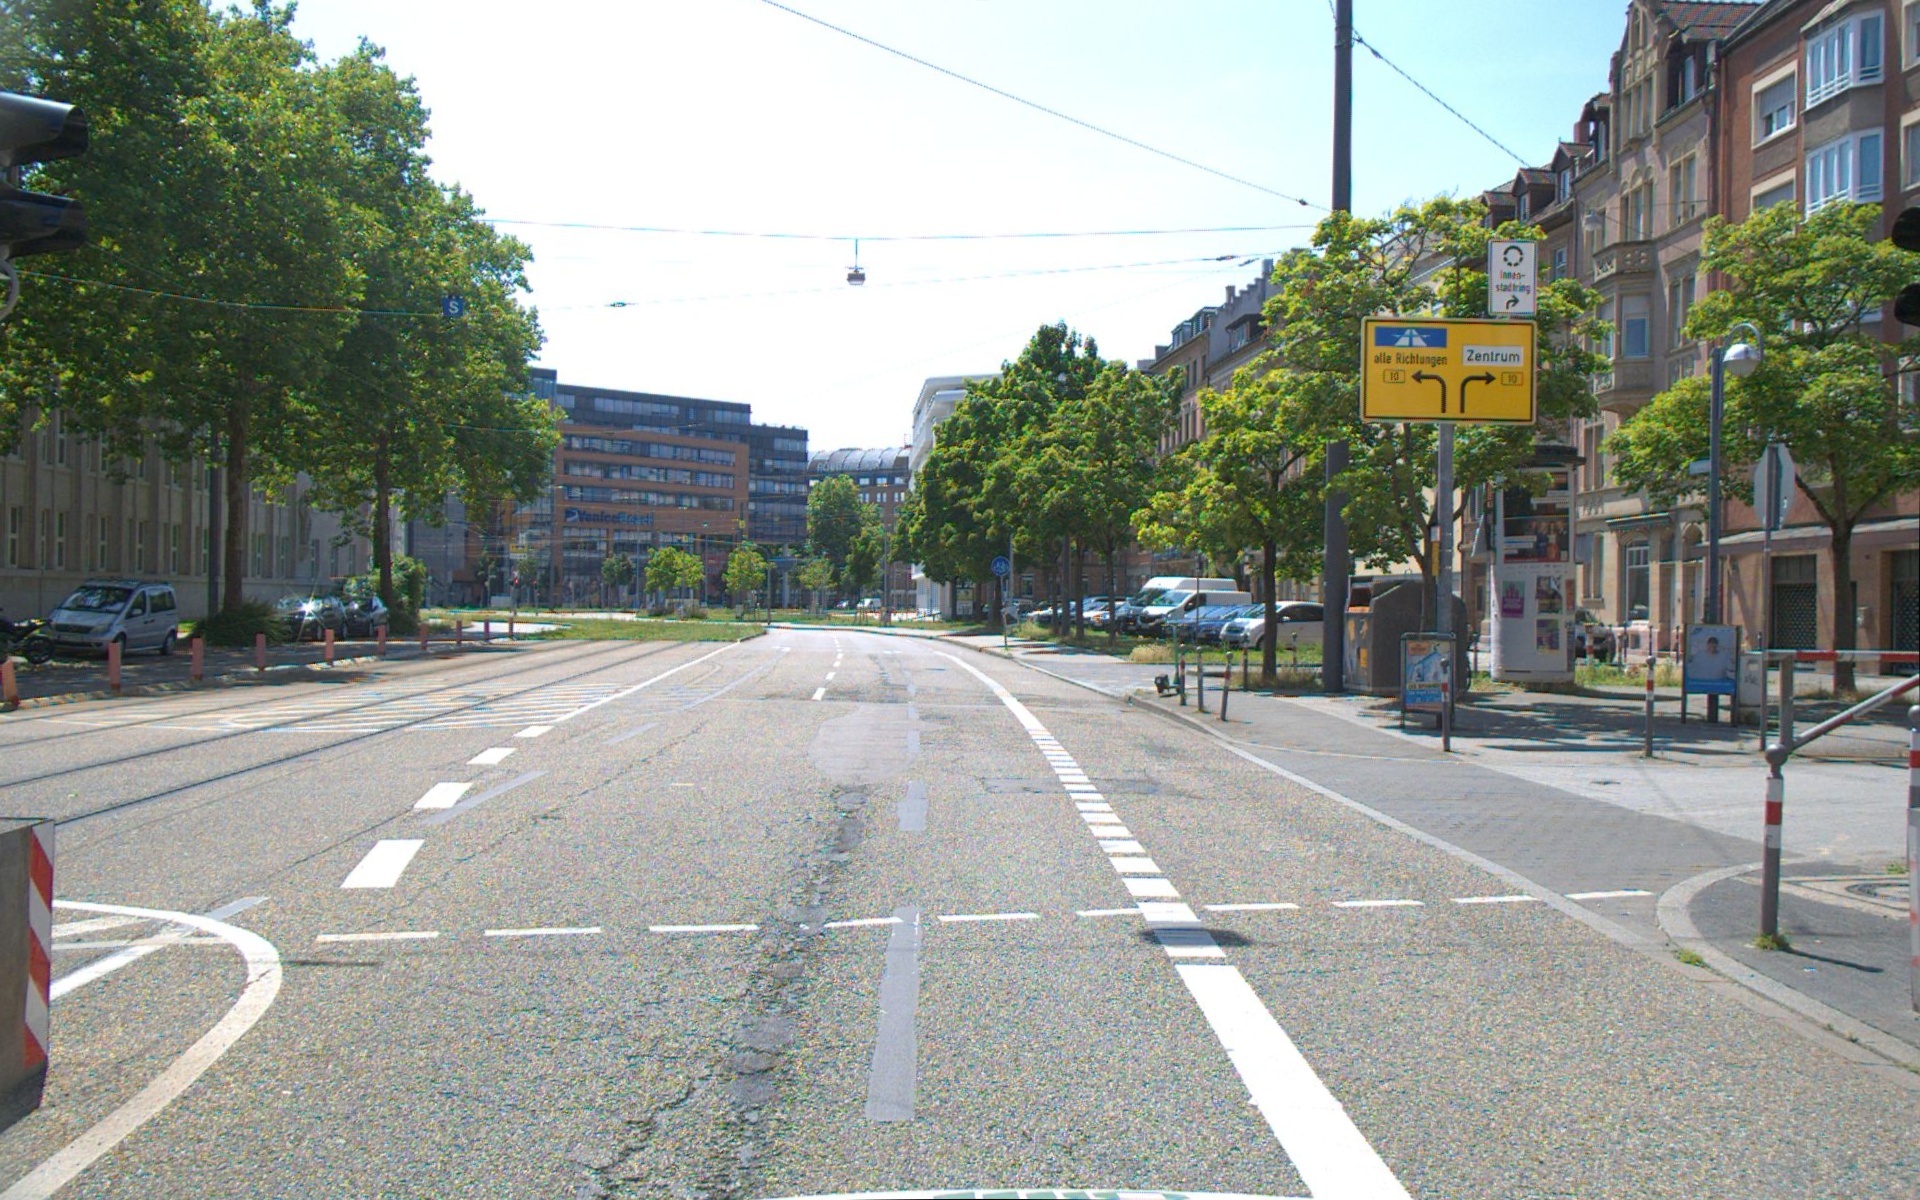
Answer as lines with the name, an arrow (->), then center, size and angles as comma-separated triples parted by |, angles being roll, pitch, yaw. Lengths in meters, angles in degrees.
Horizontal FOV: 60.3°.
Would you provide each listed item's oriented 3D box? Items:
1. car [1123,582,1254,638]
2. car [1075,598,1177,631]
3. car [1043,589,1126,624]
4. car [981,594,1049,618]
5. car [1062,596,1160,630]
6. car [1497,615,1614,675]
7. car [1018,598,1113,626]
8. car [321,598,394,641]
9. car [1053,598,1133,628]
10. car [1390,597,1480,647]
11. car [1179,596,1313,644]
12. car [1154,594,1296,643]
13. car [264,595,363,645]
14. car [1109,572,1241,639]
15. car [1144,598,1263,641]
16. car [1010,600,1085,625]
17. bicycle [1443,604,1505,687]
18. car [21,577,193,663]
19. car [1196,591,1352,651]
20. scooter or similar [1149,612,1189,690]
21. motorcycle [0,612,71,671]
car -> 8.721, 0.388, 63.002 | 4.789, 2.007, 2.052 | 2, -1, -34
car -> 7.468, 0.656, 74.166 | 4.384, 1.362, 1.946 | 2, -1, -37
car -> 6.559, 0.334, 87.109 | 3.946, 1.691, 1.952 | 2, -1, -31
car -> 4.029, 0.458, 121.307 | 4.811, 1.629, 1.816 | 2, -1, -32
car -> 7.113, 0.633, 77.611 | 4.652, 1.452, 1.942 | 2, -1, -42
car -> 17.683, 1.306, 49.309 | 1.952, 1.628, 4.600 | 2, 0, 2
car -> 5.716, 0.632, 89.252 | 4.715, 1.336, 2.131 | 2, 0, -27
car -> -21.519, 0.667, 59.181 | 1.558, 1.448, 4.315 | 2, 0, -8
car -> 6.764, 0.662, 84.069 | 3.957, 1.424, 1.690 | 2, -1, -38
car -> 17.423, 0.798, 60.789 | 1.784, 1.713, 3.995 | 2, 0, -6
car -> 9.189, 0.646, 53.106 | 3.938, 1.424, 1.809 | 2, 0, -26
car -> 9.019, 0.646, 56.270 | 4.567, 1.523, 1.946 | 2, 0, -29
car -> -20.835, 0.627, 53.471 | 1.728, 1.509, 4.319 | 2, 0, -4
car -> 8.683, 0.245, 66.471 | 5.503, 2.503, 2.204 | 2, -1, -42
car -> 8.763, 0.718, 59.484 | 3.938, 1.411, 1.809 | 2, 0, -26
car -> 5.119, 0.734, 96.719 | 3.939, 1.336, 1.955 | 2, 0, -27
bicycle -> 8.412, 0.732, 27.094 | 0.503, 1.312, 1.546 | 2, 0, 0
car -> -20.073, 0.457, 39.134 | 1.954, 1.842, 4.298 | 2, 0, -3
car -> 9.537, 0.646, 50.146 | 4.346, 1.660, 1.983 | 2, 0, -27
scooter or similar -> 3.527, 0.849, 27.853 | 0.382, 1.235, 1.180 | -3, 1, 19
motorcycle -> -19.618, 0.834, 34.378 | 1.851, 1.087, 0.718 | 8, -4, -36
